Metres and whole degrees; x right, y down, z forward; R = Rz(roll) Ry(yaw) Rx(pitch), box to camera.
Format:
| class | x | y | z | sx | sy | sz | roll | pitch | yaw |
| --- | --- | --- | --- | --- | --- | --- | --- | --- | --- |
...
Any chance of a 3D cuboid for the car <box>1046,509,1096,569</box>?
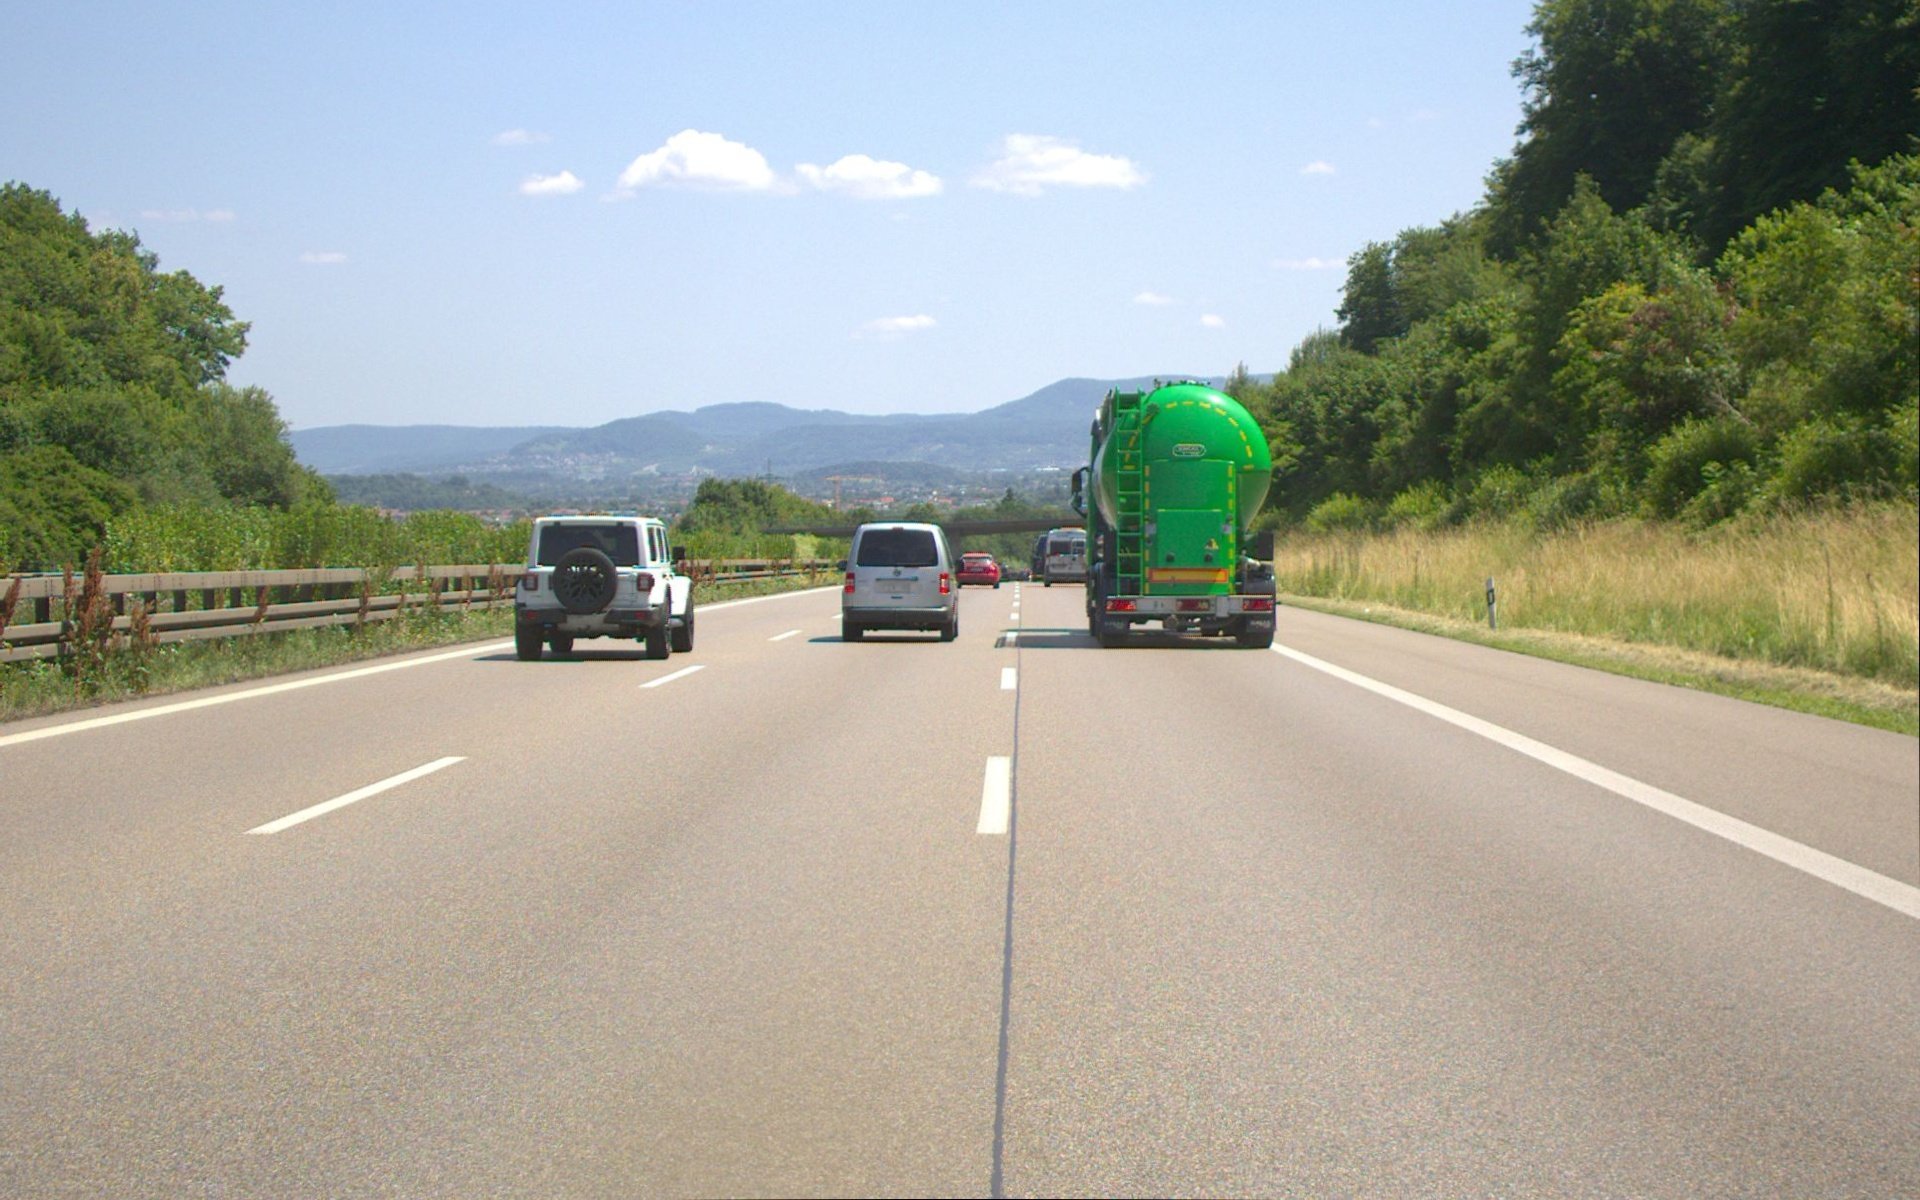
| class | x | y | z | sx | sy | sz | roll | pitch | yaw |
| --- | --- | --- | --- | --- | --- | --- | --- | --- | --- |
| car | 4.911 | -2.681 | 151.483 | 2.089 | 2.567 | 6.622 | 1 | 1 | 2 |

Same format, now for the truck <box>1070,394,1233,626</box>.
| class | x | y | z | sx | sy | sz | roll | pitch | yaw |
| --- | --- | --- | --- | --- | --- | --- | --- | --- | --- |
| truck | 3.267 | -1.544 | 59.713 | 2.509 | 3.828 | 4.893 | 1 | 1 | 0 |

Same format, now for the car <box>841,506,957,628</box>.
| class | x | y | z | sx | sy | sz | roll | pitch | yaw |
| --- | --- | --- | --- | --- | --- | --- | --- | --- | --- |
| car | -0.958 | -0.549 | 54.683 | 1.745 | 1.823 | 4.801 | 1 | 1 | -1 |

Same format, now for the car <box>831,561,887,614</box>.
| class | x | y | z | sx | sy | sz | roll | pitch | yaw |
| --- | --- | --- | --- | --- | --- | --- | --- | --- | --- |
| car | -4.020 | -0.521 | 137.282 | 1.993 | 2.007 | 4.000 | 1 | 1 | 1 |

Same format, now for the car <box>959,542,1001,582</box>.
| class | x | y | z | sx | sy | sz | roll | pitch | yaw |
| --- | --- | --- | --- | --- | --- | --- | --- | --- | --- |
| car | 0.824 | -1.555 | 139.772 | 1.446 | 1.545 | 3.356 | 1 | 1 | 4 |

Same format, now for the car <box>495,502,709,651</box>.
| class | x | y | z | sx | sy | sz | roll | pitch | yaw |
| --- | --- | --- | --- | --- | --- | --- | --- | --- | --- |
| car | -4.635 | -0.340 | 45.202 | 2.084 | 1.823 | 4.753 | 1 | 1 | 3 |

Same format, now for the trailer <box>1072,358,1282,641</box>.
| class | x | y | z | sx | sy | sz | roll | pitch | yaw |
| --- | --- | --- | --- | --- | --- | --- | --- | --- | --- |
| trailer | 3.273 | -1.541 | 54.417 | 2.587 | 4.014 | 10.471 | 1 | 1 | 0 |
